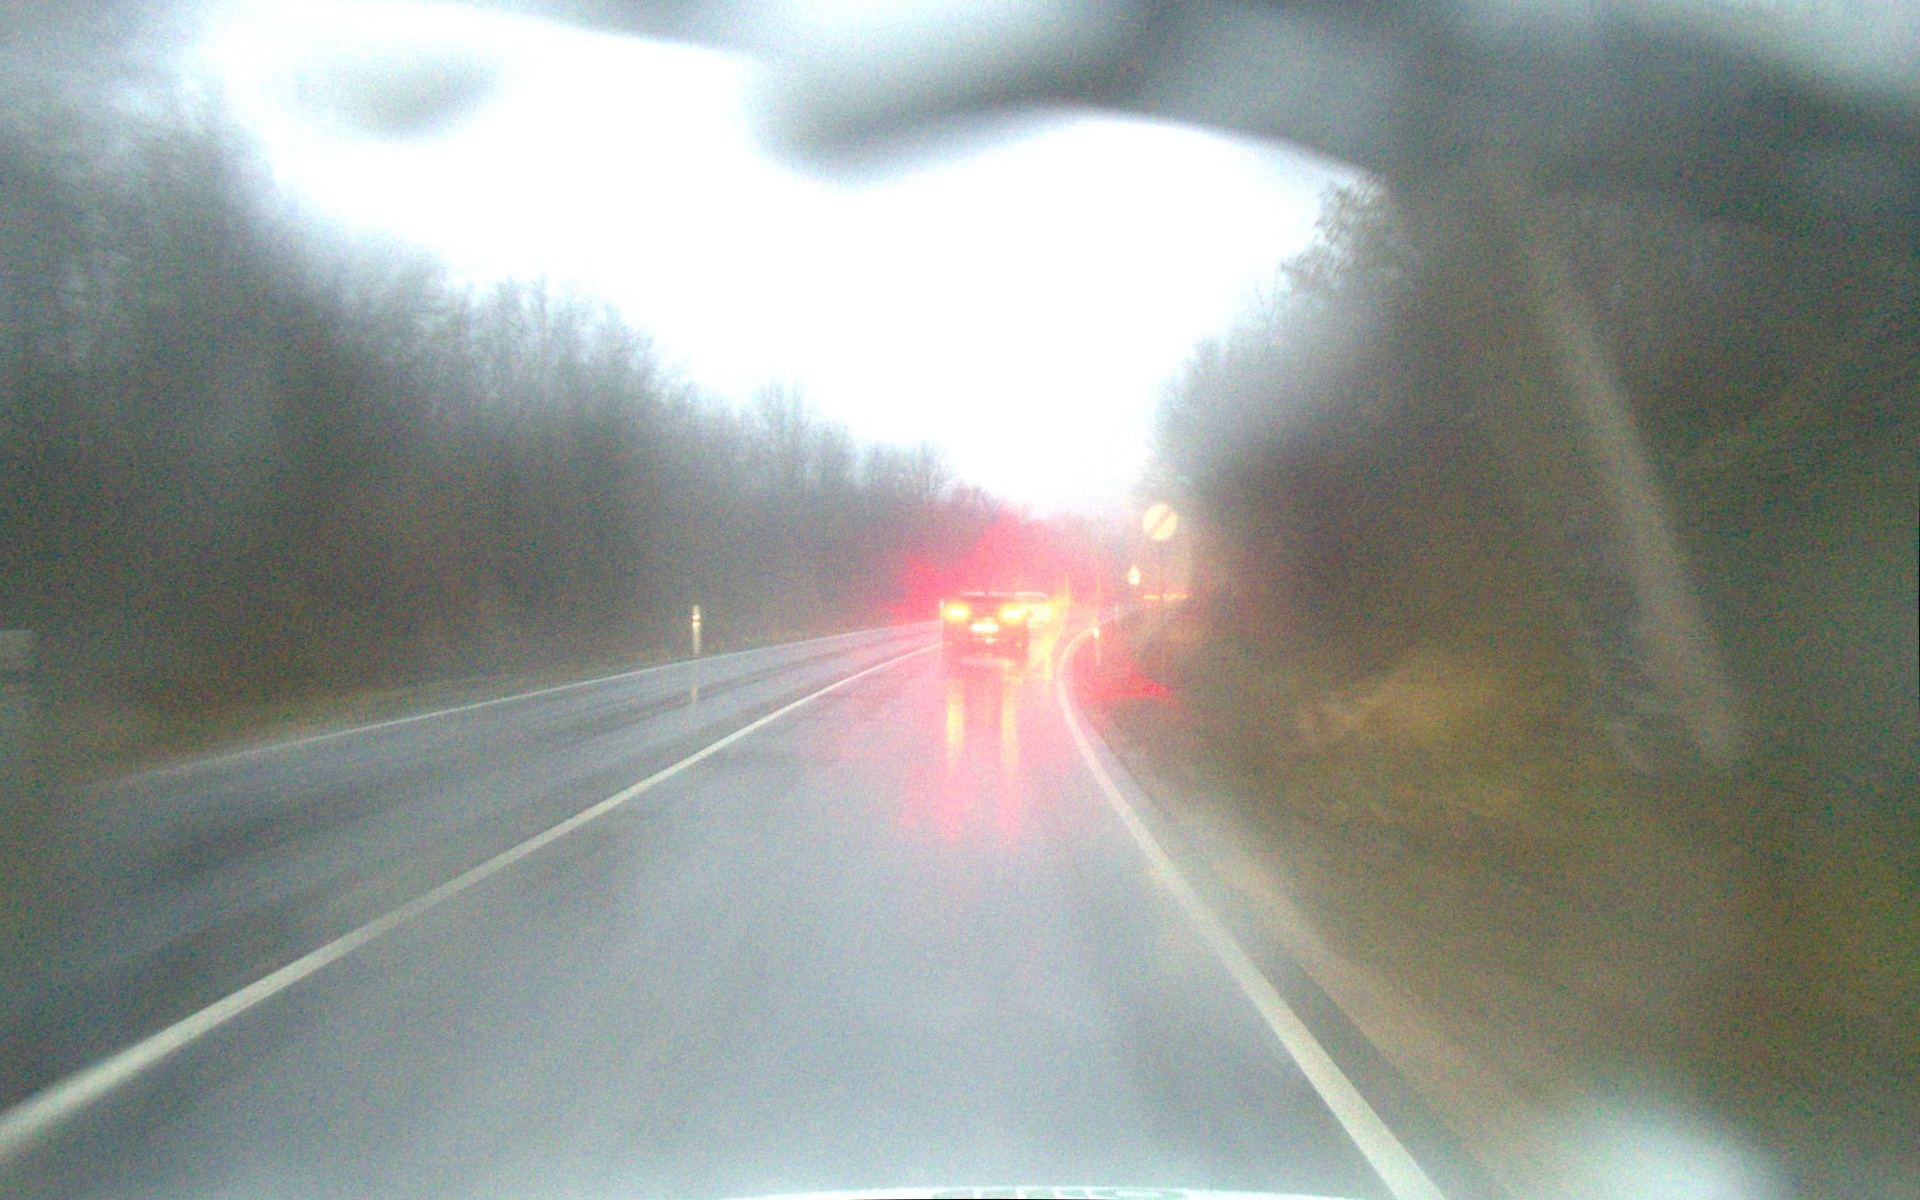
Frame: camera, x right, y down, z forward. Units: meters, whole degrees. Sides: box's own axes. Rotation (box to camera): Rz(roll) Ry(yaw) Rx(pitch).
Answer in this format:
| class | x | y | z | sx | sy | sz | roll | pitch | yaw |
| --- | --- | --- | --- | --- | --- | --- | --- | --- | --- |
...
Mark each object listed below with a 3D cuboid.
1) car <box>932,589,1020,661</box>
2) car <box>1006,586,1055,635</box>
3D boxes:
| class | x | y | z | sx | sy | sz | roll | pitch | yaw |
| --- | --- | --- | --- | --- | --- | --- | --- | --- | --- |
| car | 0.382 | 0.495 | 34.820 | 1.643 | 1.414 | 4.100 | 0 | 0 | 3 |
| car | 2.613 | 0.367 | 60.326 | 1.643 | 1.704 | 4.100 | 0 | 0 | 4 |
